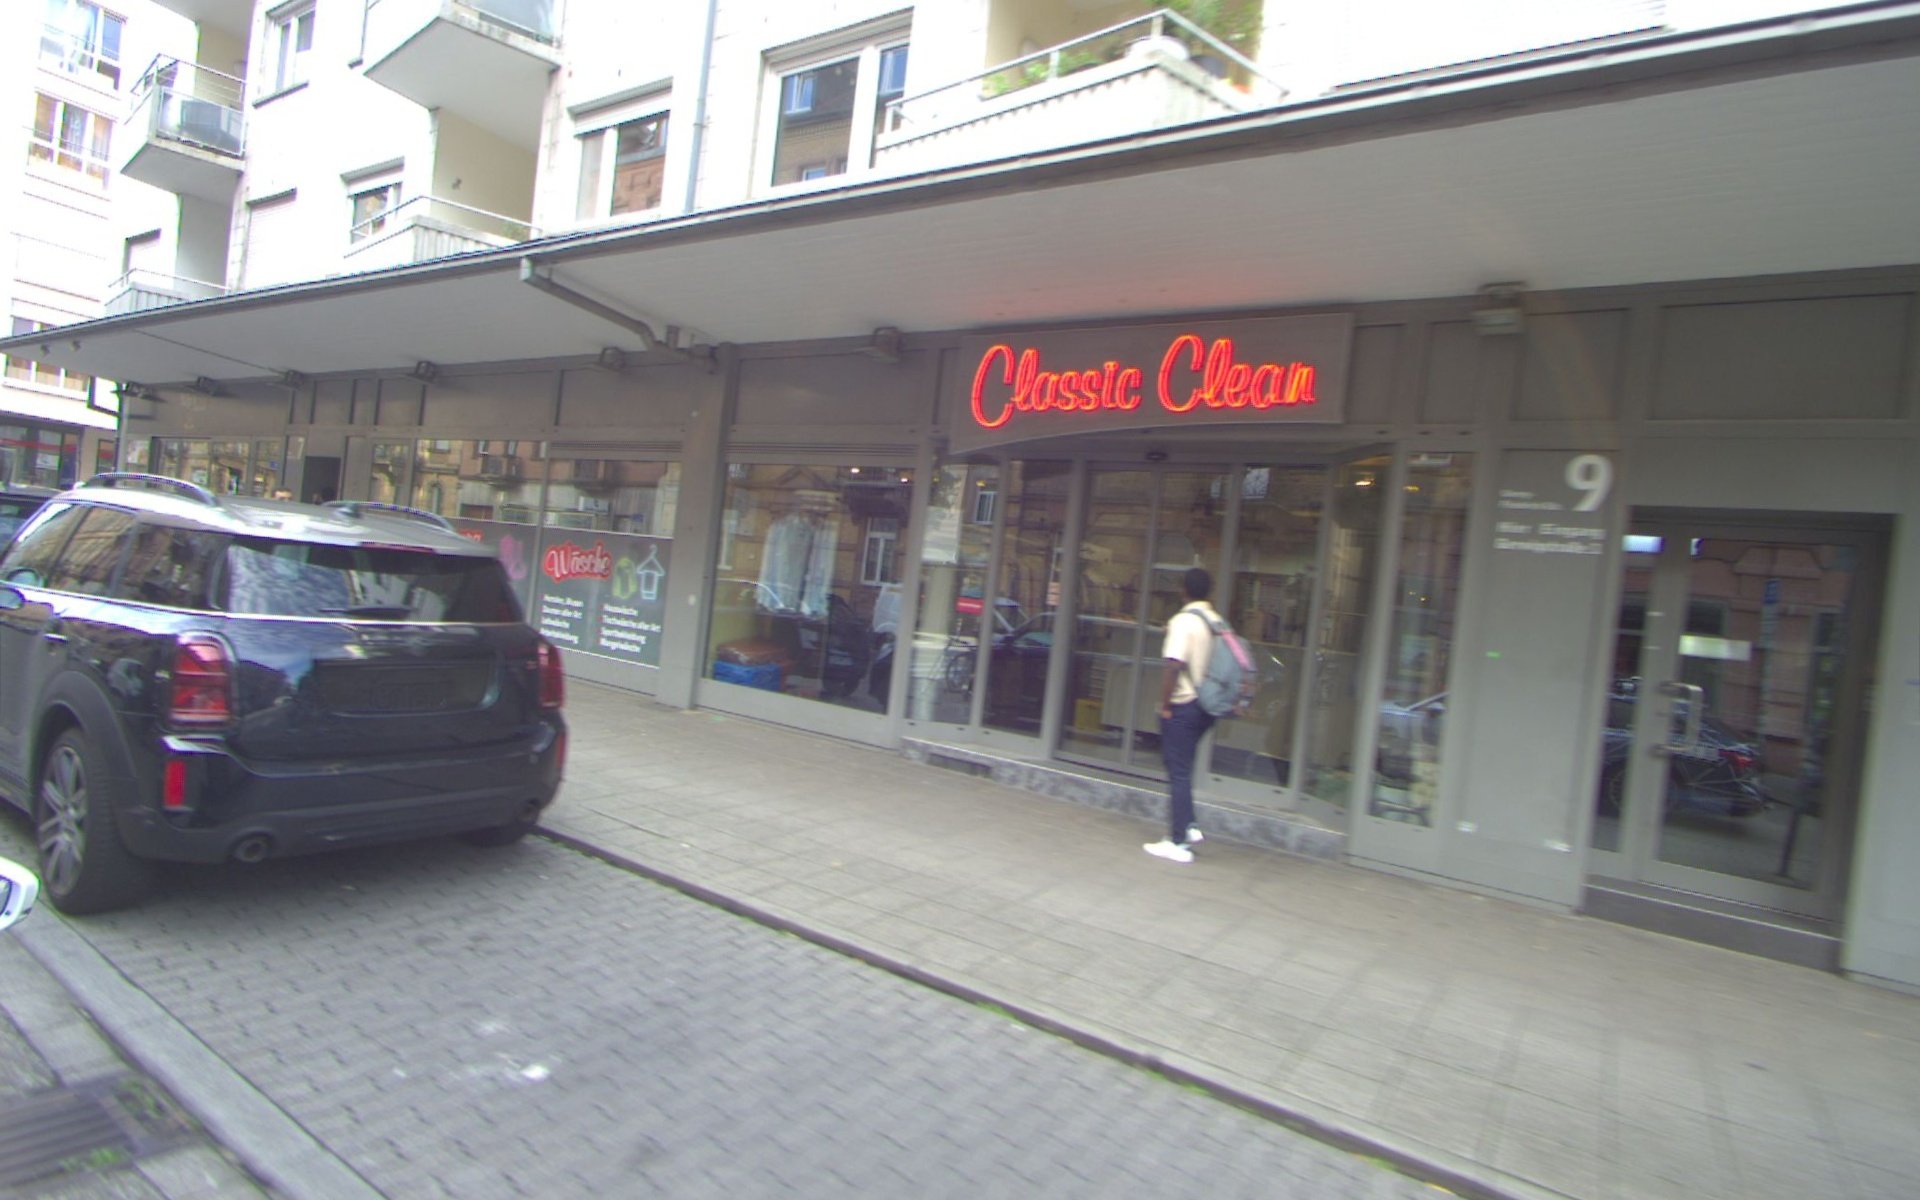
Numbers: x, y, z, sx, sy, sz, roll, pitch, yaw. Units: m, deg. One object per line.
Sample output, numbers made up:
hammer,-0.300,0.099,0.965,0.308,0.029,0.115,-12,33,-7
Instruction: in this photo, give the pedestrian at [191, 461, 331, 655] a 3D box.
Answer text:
pedestrian,-6.823,-0.412,9.817,1.107,1.749,0.612,7,3,29

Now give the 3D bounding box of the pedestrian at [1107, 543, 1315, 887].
pedestrian,1.453,0.611,5.804,0.803,1.770,0.714,7,3,32

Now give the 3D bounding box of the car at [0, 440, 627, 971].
car,-3.677,0.206,4.923,3.861,1.625,1.793,7,1,34

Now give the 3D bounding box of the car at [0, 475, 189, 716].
car,-7.872,-0.194,7.831,3.838,1.597,1.689,7,1,33

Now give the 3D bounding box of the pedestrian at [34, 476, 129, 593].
pedestrian,-13.173,-0.978,15.093,0.768,1.608,0.824,7,1,36

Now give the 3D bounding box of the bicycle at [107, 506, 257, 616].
bicycle,-10.966,-0.563,14.144,2.459,1.308,0.918,7,2,35

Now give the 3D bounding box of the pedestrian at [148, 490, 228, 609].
pedestrian,-11.133,-0.721,14.504,0.768,1.609,0.643,7,2,36

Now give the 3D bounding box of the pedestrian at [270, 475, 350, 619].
pedestrian,-9.072,-0.723,14.060,0.701,1.883,0.640,6,1,-27
